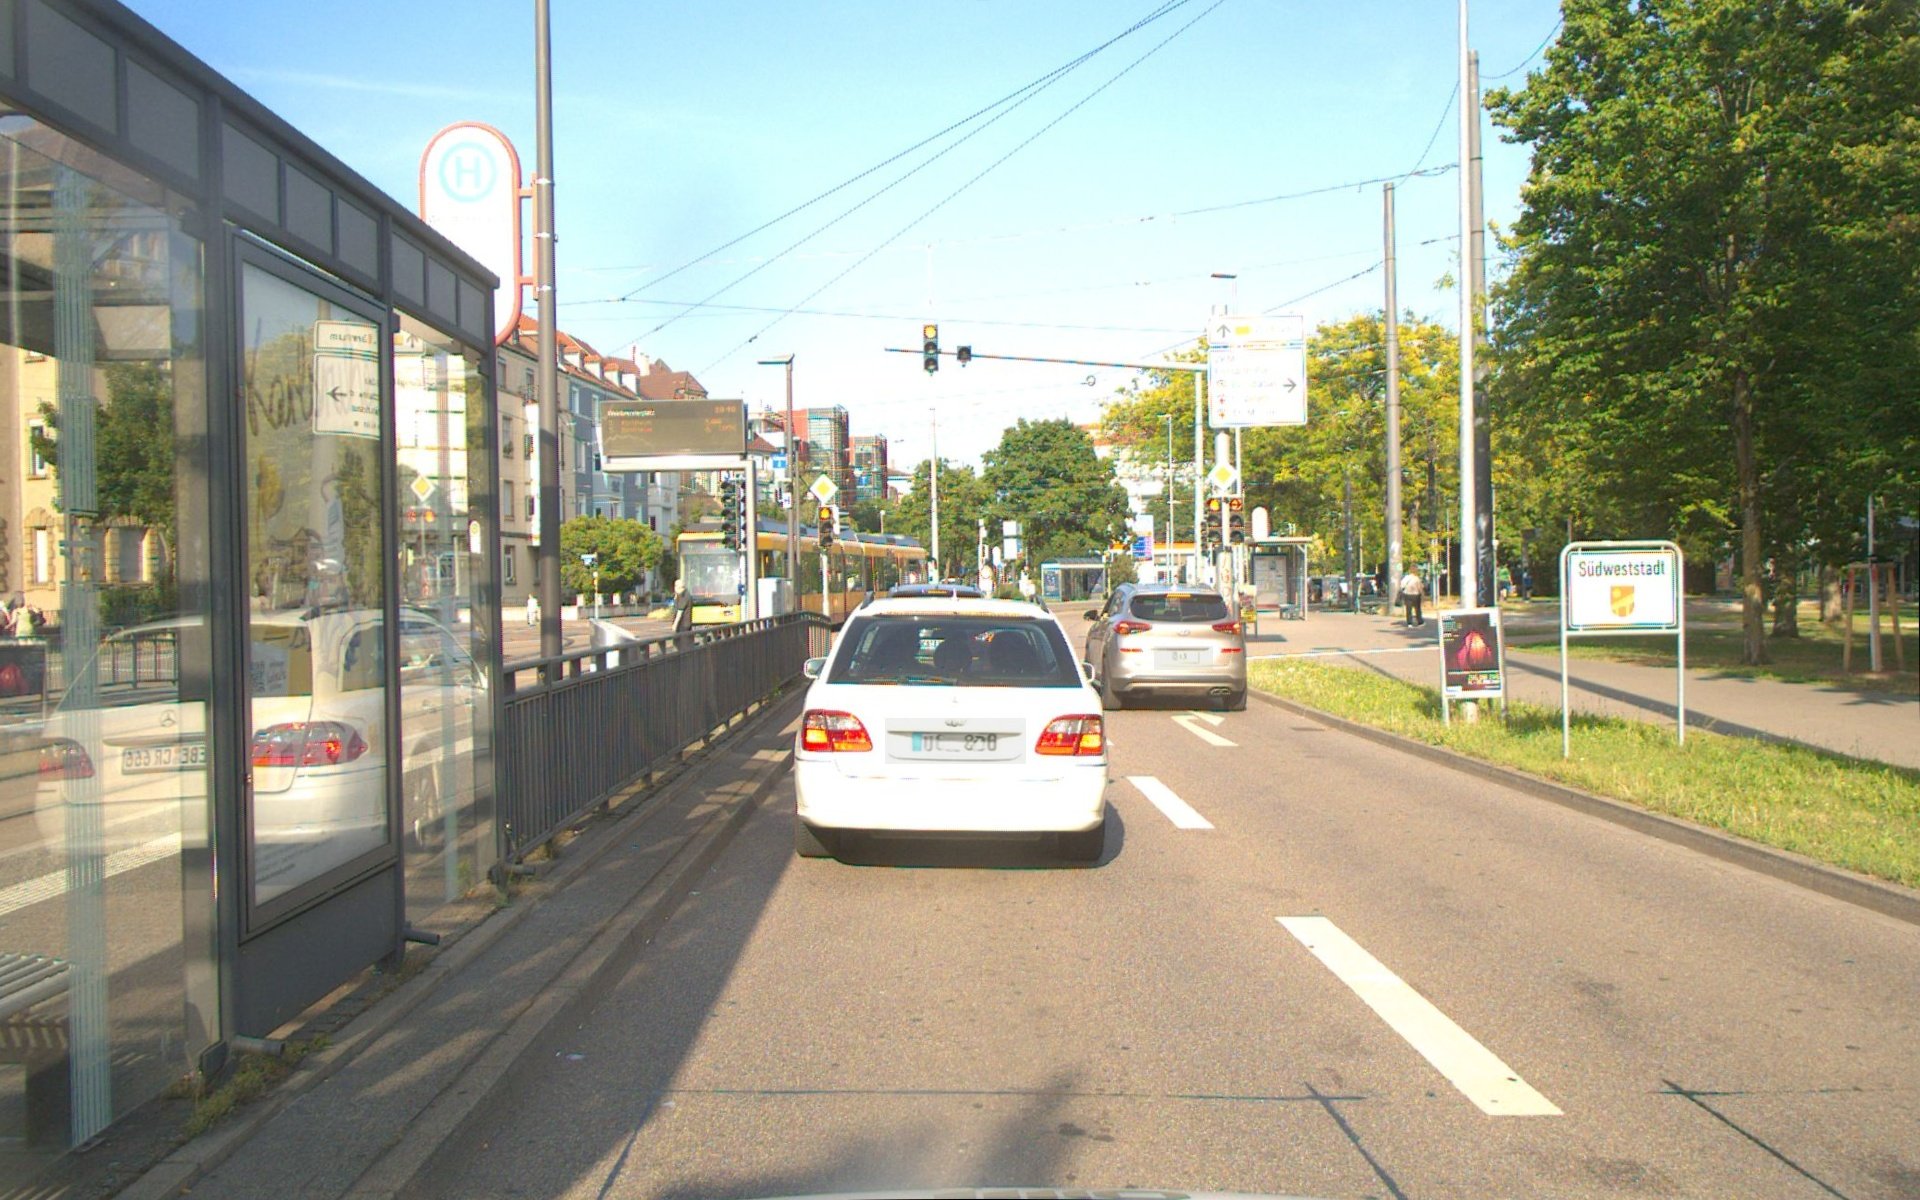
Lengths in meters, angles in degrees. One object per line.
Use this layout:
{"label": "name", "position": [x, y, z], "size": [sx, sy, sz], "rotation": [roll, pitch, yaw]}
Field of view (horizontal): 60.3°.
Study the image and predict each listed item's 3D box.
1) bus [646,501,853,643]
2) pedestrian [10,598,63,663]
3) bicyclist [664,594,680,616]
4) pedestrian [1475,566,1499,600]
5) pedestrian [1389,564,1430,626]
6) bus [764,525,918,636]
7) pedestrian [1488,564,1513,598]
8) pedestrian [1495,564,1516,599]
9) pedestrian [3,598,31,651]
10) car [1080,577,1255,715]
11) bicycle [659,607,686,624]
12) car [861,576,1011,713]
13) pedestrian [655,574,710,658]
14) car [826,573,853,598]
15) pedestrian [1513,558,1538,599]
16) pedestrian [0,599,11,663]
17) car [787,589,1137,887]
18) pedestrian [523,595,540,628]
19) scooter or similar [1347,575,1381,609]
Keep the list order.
{"label": "bus", "position": [-5.918, -0.694, 49.413], "size": [3.042, 3.669, 12.384], "rotation": [1, 0, 7]}
{"label": "pedestrian", "position": [-23.039, 0.755, 41.256], "size": [0.812, 1.579, 0.782], "rotation": [-1, 0, 21]}
{"label": "bicyclist", "position": [-14.617, 0.250, 83.835], "size": [0.502, 1.062, 0.680], "rotation": [-1, 0, 20]}
{"label": "pedestrian", "position": [23.746, -0.781, 74.517], "size": [0.809, 1.513, 0.690], "rotation": [-1, 0, -42]}
{"label": "pedestrian", "position": [12.285, -0.146, 45.191], "size": [0.748, 1.665, 0.797], "rotation": [-1, 0, -40]}
{"label": "bus", "position": [-4.163, -0.618, 61.788], "size": [3.042, 3.669, 12.601], "rotation": [1, 0, 8]}
{"label": "pedestrian", "position": [24.552, -0.843, 75.140], "size": [0.799, 1.513, 0.698], "rotation": [-1, 0, -12]}
{"label": "pedestrian", "position": [24.296, -0.826, 73.624], "size": [0.796, 1.513, 0.700], "rotation": [-1, 0, 24]}
{"label": "pedestrian", "position": [-27.736, 0.715, 48.631], "size": [0.428, 1.527, 0.549], "rotation": [-1, 0, 14]}
{"label": "car", "position": [2.725, 0.560, 22.477], "size": [1.846, 1.680, 3.647], "rotation": [-1, 0, -1]}
{"label": "bicycle", "position": [-14.583, 0.778, 83.903], "size": [0.515, 0.849, 1.686], "rotation": [-1, 0, 21]}
{"label": "car", "position": [-0.322, 0.541, 22.531], "size": [1.846, 1.680, 3.647], "rotation": [1, 0, -1]}
{"label": "pedestrian", "position": [-5.662, 0.314, 33.752], "size": [0.788, 1.674, 0.745], "rotation": [-1, 0, -45]}
{"label": "car", "position": [-10.196, -1.238, 140.380], "size": [2.032, 2.049, 4.162], "rotation": [1, 0, -1]}
{"label": "pedestrian", "position": [25.572, -0.969, 74.803], "size": [0.784, 1.816, 0.838], "rotation": [-1, 0, -5]}
{"label": "pedestrian", "position": [-24.174, 0.787, 40.983], "size": [0.812, 1.579, 0.782], "rotation": [-1, 0, 21]}
{"label": "car", "position": [-0.014, 0.687, 10.168], "size": [1.759, 1.496, 3.647], "rotation": [0, 0, -1]}
{"label": "pedestrian", "position": [-20.287, 0.548, 78.317], "size": [0.616, 1.568, 0.711], "rotation": [-1, 0, -1]}
{"label": "scooter or similar", "position": [13.698, -0.255, 56.082], "size": [0.413, 1.136, 1.322], "rotation": [-1, 0, -20]}
